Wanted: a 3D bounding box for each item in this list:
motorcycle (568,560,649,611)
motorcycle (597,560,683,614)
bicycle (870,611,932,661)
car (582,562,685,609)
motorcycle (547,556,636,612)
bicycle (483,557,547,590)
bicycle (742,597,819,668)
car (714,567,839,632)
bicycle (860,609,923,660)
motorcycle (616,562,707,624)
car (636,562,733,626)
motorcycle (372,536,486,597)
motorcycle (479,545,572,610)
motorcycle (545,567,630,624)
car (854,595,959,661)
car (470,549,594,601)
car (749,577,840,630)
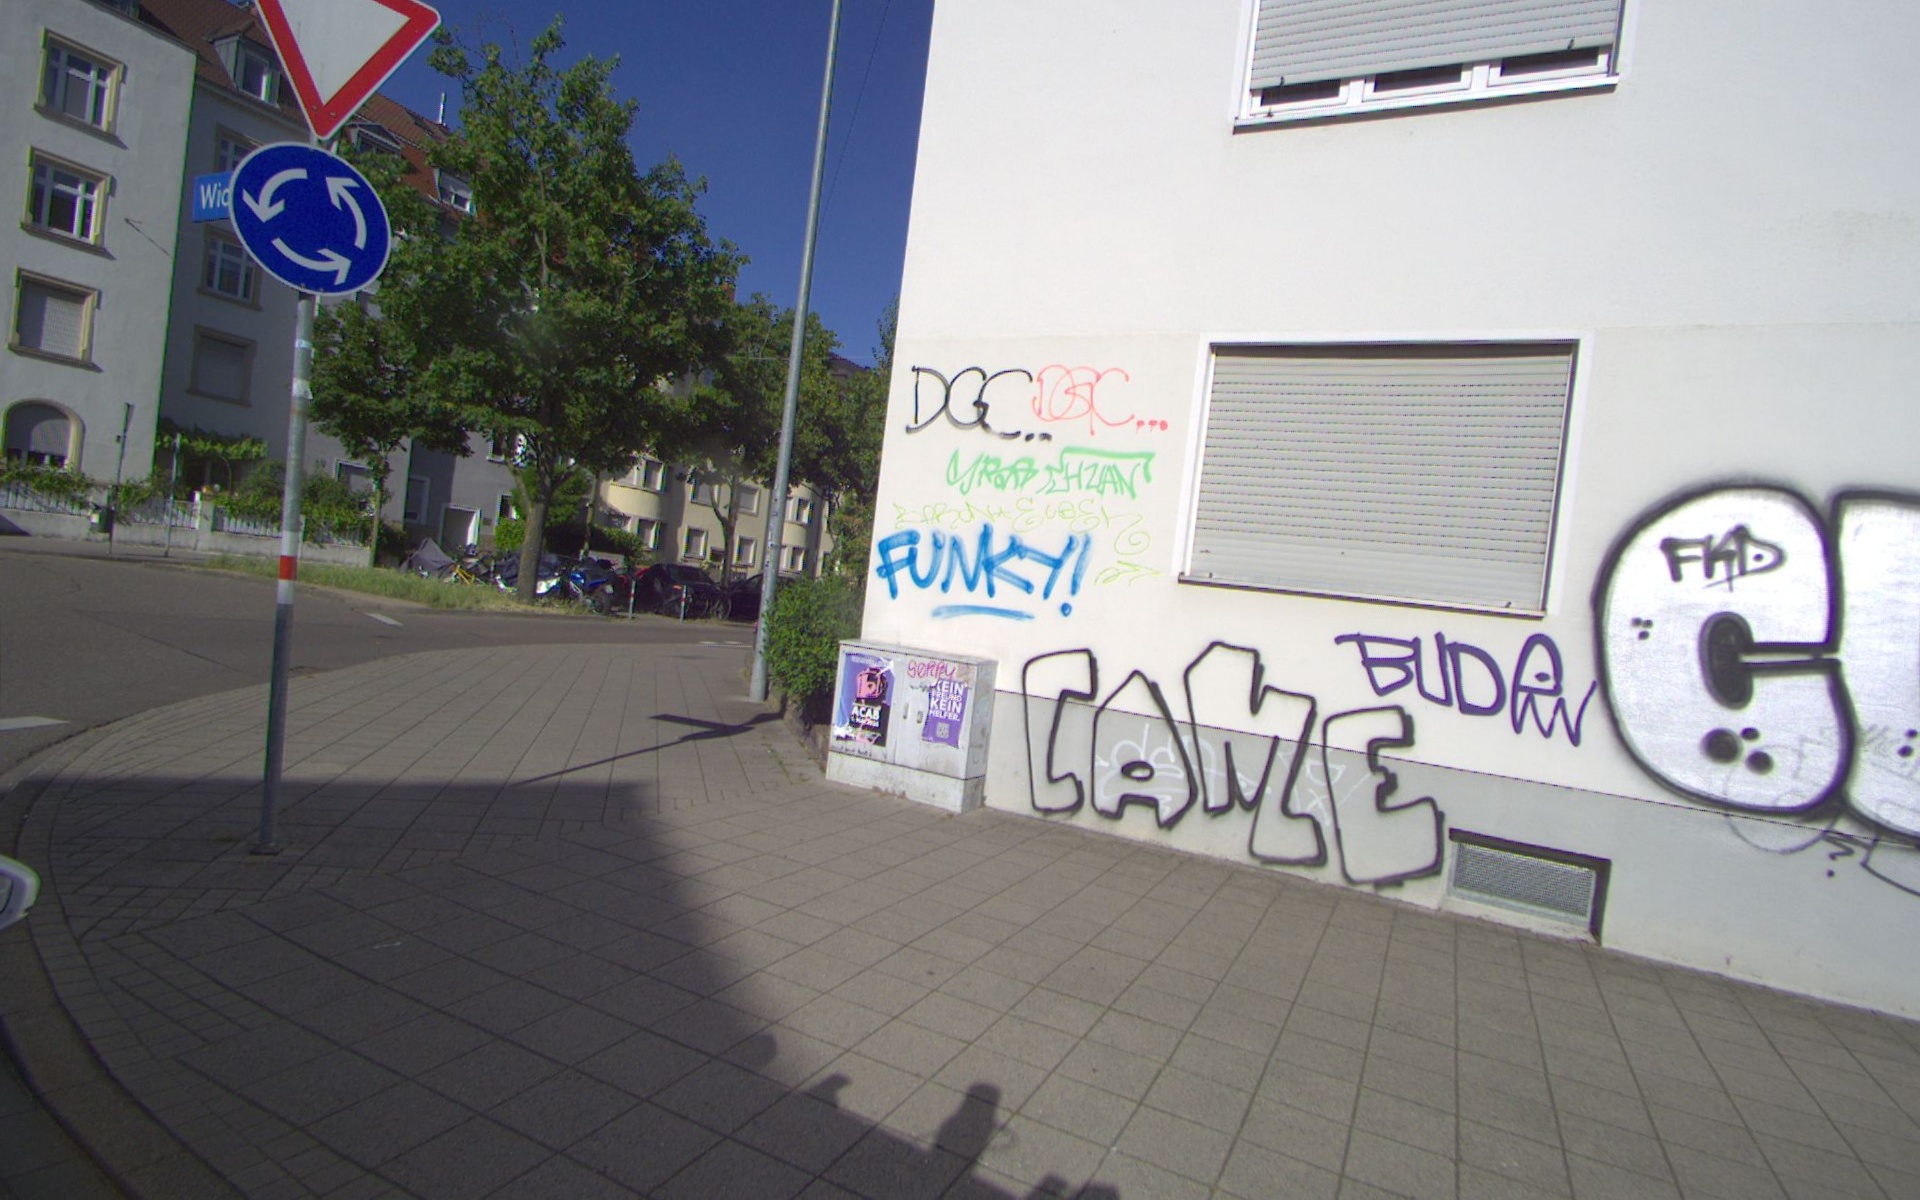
[{"bbox_3d":[-10.875,-0.461,31.151,2.203,1.283,1.050,7,0,28],"label":"motorcycle"},{"bbox_3d":[-9.335,-0.377,29.365,2.203,1.283,1.050,7,0,28],"label":"motorcycle"},{"bbox_3d":[-1.418,0.863,24.201,1.425,1.070,0.330,4,0,26],"label":"bicycle"},{"bbox_3d":[-13.315,-0.568,41.236,1.722,1.463,3.851,8,0,25],"label":"car"},{"bbox_3d":[-10.492,-0.456,28.639,2.203,1.283,1.050,7,0,28],"label":"motorcycle"},{"bbox_3d":[-17.687,-1.039,40.043,0.671,1.072,2.253,7,0,30],"label":"bicycle"},{"bbox_3d":[-2.958,0.556,16.707,0.377,1.092,1.625,5,-1,22],"label":"bicycle"},{"bbox_3d":[-5.976,-0.036,32.569,1.988,1.617,3.950,8,-1,-44],"label":"car"},{"bbox_3d":[-1.626,0.814,23.778,1.425,1.070,0.330,4,0,26],"label":"bicycle"},{"bbox_3d":[-8.158,-0.187,27.520,2.089,1.410,1.062,7,1,26],"label":"motorcycle"},{"bbox_3d":[-8.964,-0.230,32.562,1.786,1.660,3.842,7,0,-33],"label":"car"},{"bbox_3d":[-14.224,-0.902,26.926,2.733,1.283,1.126,7,0,23],"label":"motorcycle"},{"bbox_3d":[-10.765,-0.550,24.930,2.017,1.344,0.862,7,1,25],"label":"motorcycle"},{"bbox_3d":[-8.880,-0.116,23.973,1.813,1.086,0.813,8,1,28],"label":"motorcycle"},{"bbox_3d":[-1.368,0.753,27.449,1.797,1.429,4.001,8,0,11],"label":"car"},{"bbox_3d":[-15.532,-0.878,36.702,1.722,1.463,3.953,5,-1,25],"label":"car"},{"bbox_3d":[-6.472,0.120,39.009,1.692,1.610,3.959,7,0,-37],"label":"car"}]
